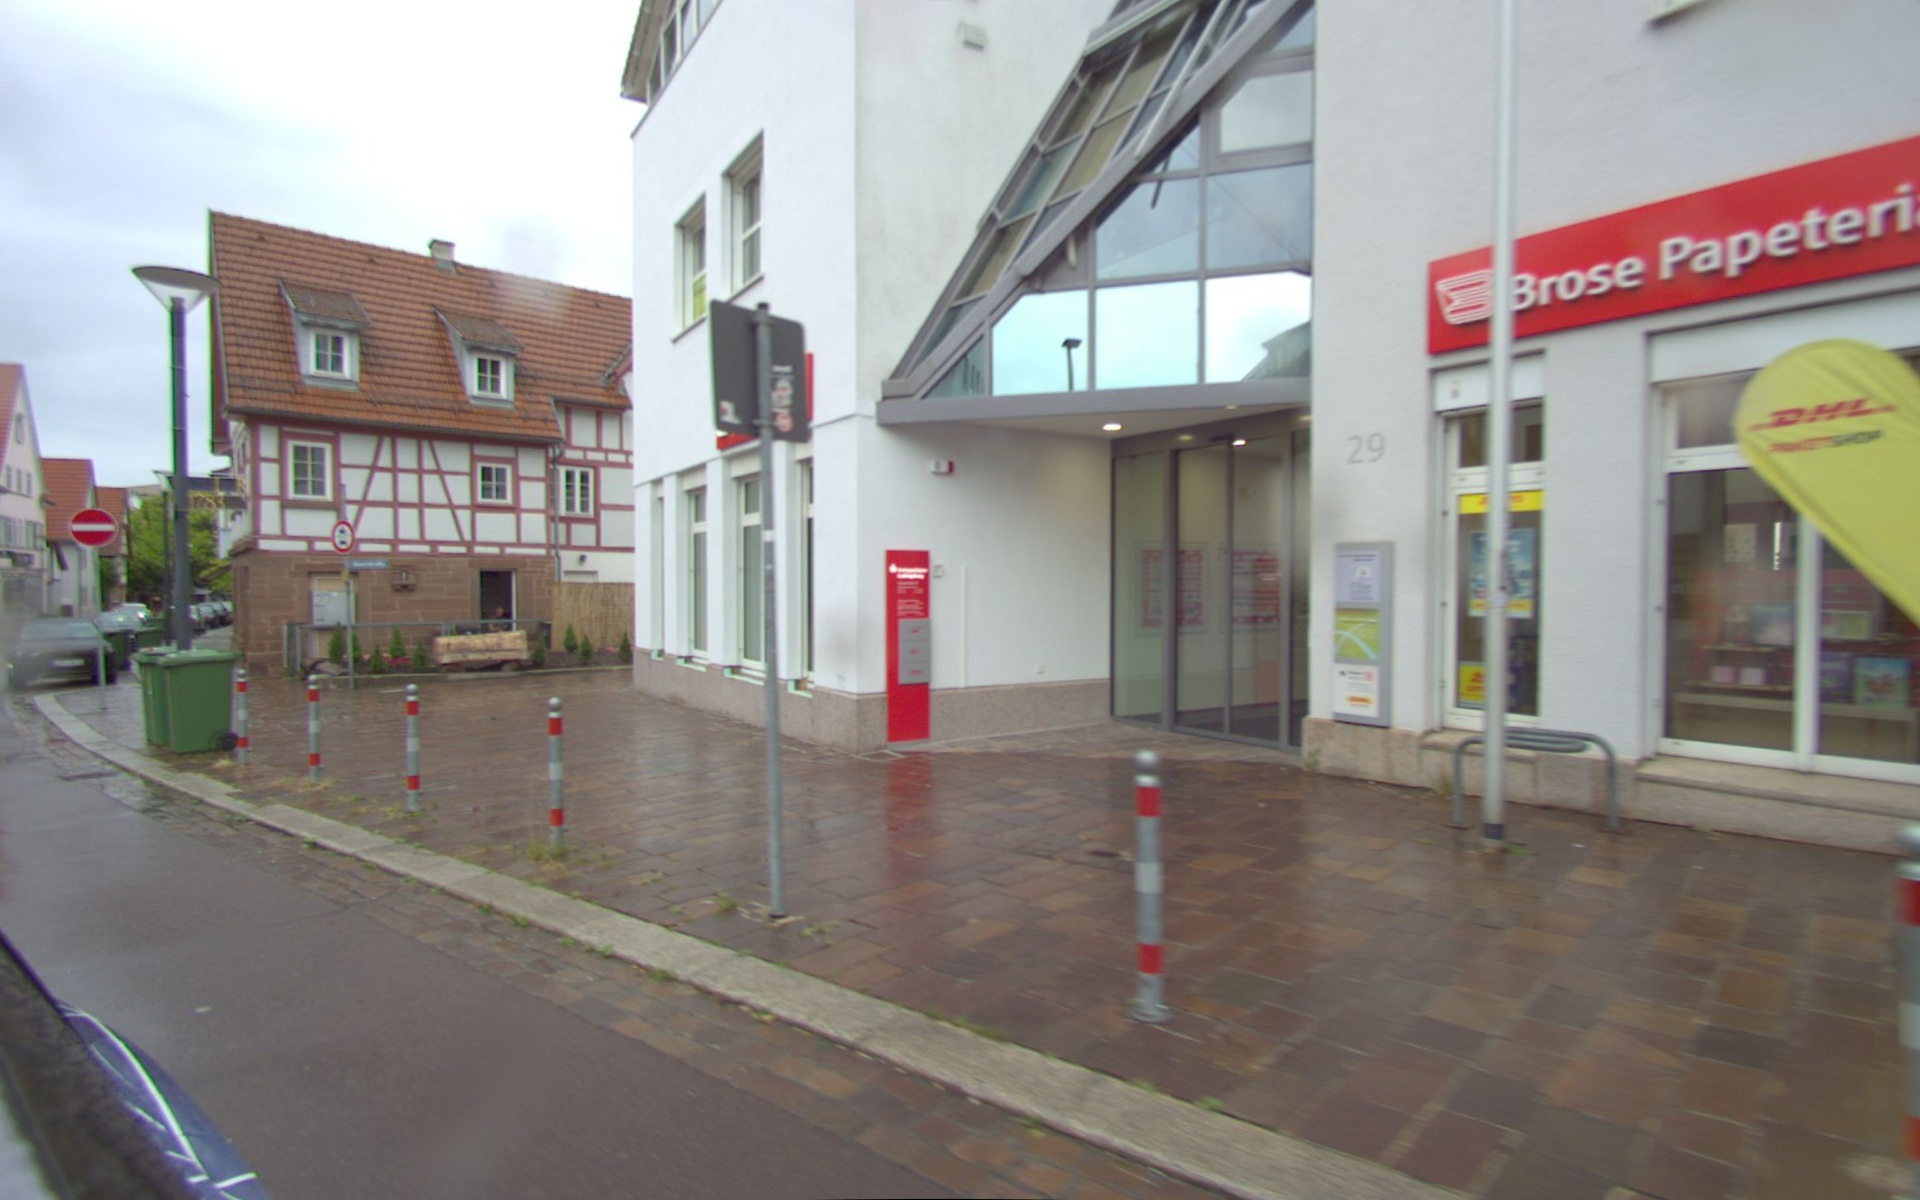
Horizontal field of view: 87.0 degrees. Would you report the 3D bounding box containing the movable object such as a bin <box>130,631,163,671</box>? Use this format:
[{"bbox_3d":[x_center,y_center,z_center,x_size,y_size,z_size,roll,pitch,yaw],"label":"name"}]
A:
[{"bbox_3d":[-21.528,1.338,26.776,0.530,1.030,0.604,-1,-1,41],"label":"movable object such as a bin"}]

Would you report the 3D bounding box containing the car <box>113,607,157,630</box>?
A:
[{"bbox_3d":[-54.228,1.195,66.586,1.838,1.471,4.011,0,-1,-34],"label":"car"}]

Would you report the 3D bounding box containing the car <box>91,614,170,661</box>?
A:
[{"bbox_3d":[-29.004,1.261,35.481,1.778,1.453,4.010,-2,1,-35],"label":"car"}]

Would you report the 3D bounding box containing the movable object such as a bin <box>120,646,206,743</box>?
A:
[{"bbox_3d":[-9.362,1.085,11.895,0.644,1.055,0.688,-1,-1,42],"label":"movable object such as a bin"}]

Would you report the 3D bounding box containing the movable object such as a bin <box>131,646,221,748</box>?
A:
[{"bbox_3d":[-8.812,1.069,11.384,0.644,1.059,0.688,-1,-1,42],"label":"movable object such as a bin"}]

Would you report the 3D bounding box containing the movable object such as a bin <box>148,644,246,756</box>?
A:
[{"bbox_3d":[-8.198,1.046,10.876,0.644,1.085,0.688,-1,2,42],"label":"movable object such as a bin"}]

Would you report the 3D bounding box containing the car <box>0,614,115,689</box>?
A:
[{"bbox_3d":[-20.355,1.077,22.738,1.782,1.453,4.003,-2,1,-44],"label":"car"}]

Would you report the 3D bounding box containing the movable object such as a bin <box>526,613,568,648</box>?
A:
[{"bbox_3d":[-10.273,0.748,25.169,0.755,0.863,0.700,-1,-1,42],"label":"movable object such as a bin"}]
